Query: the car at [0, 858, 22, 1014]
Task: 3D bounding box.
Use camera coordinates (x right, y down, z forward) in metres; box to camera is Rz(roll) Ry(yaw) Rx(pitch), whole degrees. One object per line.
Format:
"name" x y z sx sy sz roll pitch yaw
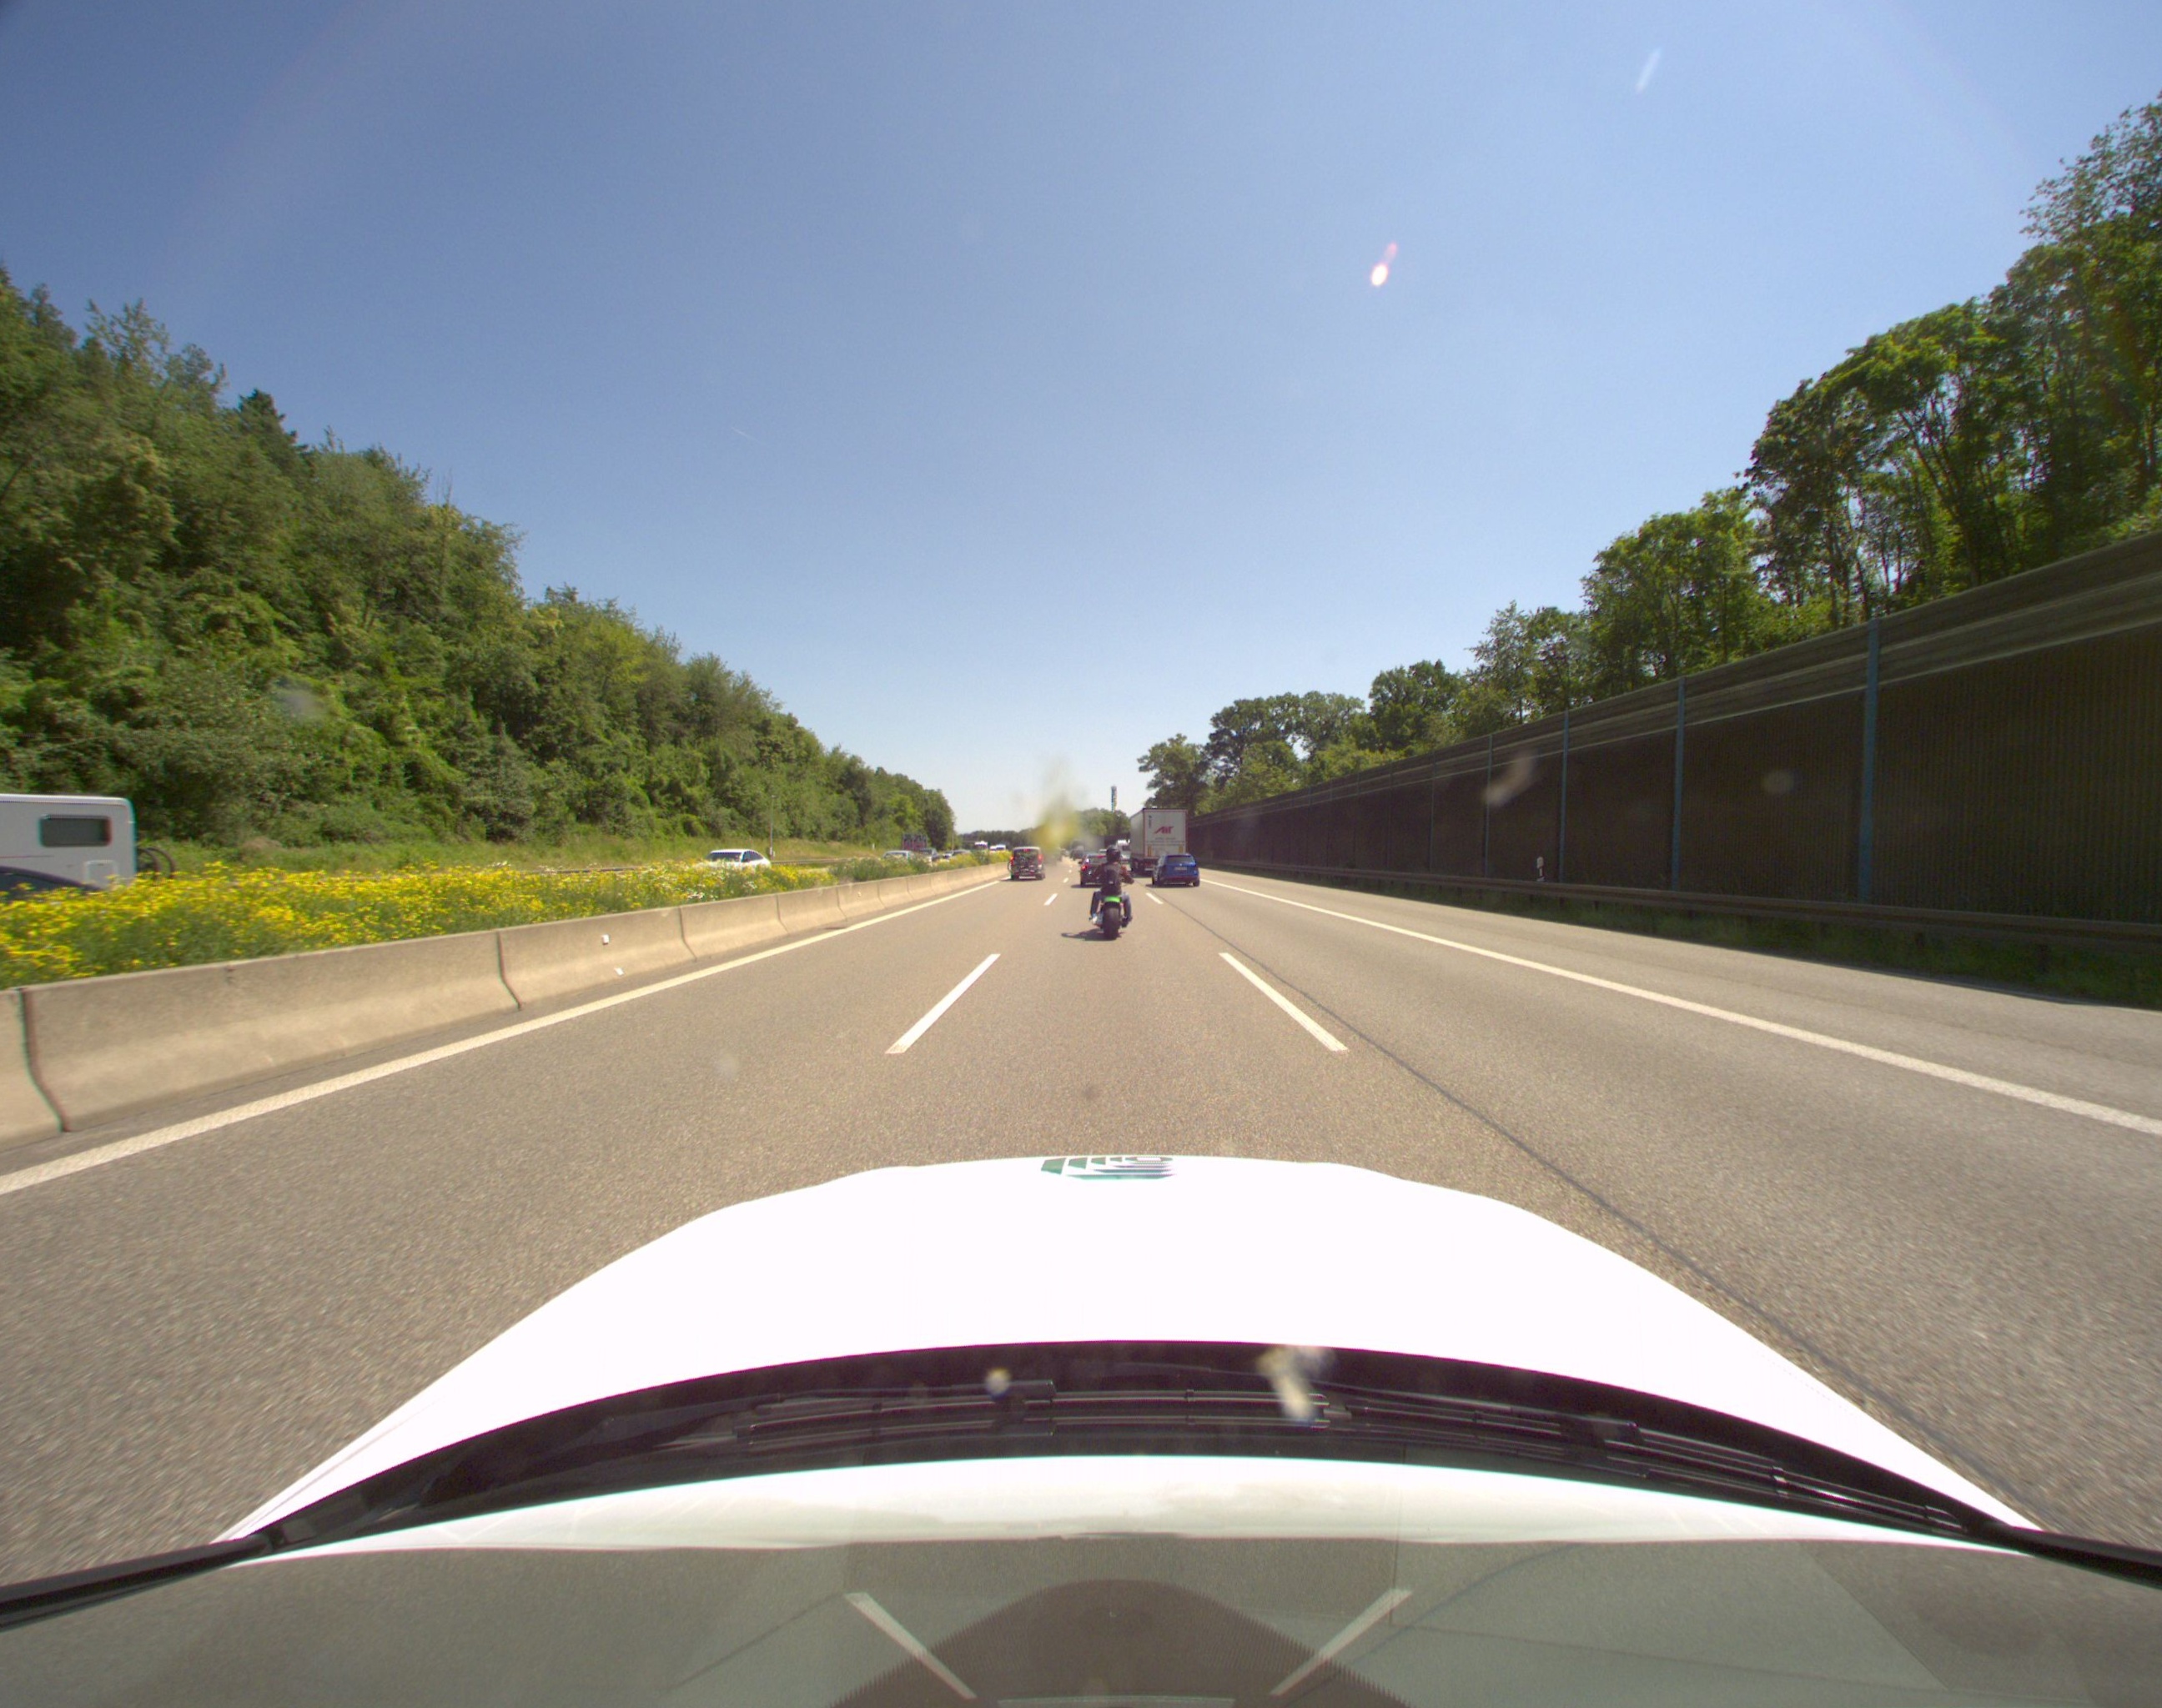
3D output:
"car" -11.274 0.798 5.994 1.801 1.486 3.859 -1 0 3

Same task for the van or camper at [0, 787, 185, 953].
"van or camper" -17.851 0.252 11.656 2.177 2.560 6.936 -1 -1 2

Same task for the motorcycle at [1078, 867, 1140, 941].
"motorcycle" 0.560 0.857 14.873 0.960 1.148 2.816 0 0 5

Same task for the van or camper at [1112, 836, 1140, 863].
"van or camper" 4.893 -0.400 89.464 2.676 2.813 6.803 -1 -1 1

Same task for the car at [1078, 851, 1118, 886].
"car" 0.745 0.649 36.797 1.657 1.453 3.869 -1 -1 0

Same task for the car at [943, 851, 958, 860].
"car" -22.453 0.282 139.969 1.988 1.432 4.190 -1 0 -1

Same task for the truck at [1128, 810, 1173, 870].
"truck" 5.081 -1.007 60.442 2.876 4.146 5.987 -1 0 1

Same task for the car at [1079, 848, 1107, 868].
"car" 0.897 0.329 61.274 1.987 1.430 3.846 -1 -1 0

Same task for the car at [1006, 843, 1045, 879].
"car" -3.046 0.402 45.452 1.893 1.873 4.411 -1 -1 0

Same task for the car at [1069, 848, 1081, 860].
"car" -1.101 0.010 144.074 1.907 2.014 3.686 -1 -1 -4

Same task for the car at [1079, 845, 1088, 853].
"car" 0.509 -1.272 198.923 2.102 1.876 3.997 -1 -1 -2

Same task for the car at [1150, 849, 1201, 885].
"car" 4.151 0.568 36.342 1.646 1.483 4.479 -1 -1 -1

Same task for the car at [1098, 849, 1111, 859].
"car" 3.757 0.049 132.895 1.987 1.574 3.999 -1 -1 0

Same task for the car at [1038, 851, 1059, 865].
"car" -3.359 0.411 85.523 1.987 1.387 3.999 -1 -1 0

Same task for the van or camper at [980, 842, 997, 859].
"van or camper" -19.459 -0.752 170.839 2.532 3.317 8.999 -1 -1 0

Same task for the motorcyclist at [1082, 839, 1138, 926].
"motorcyclist" 0.559 0.495 14.853 0.895 1.475 1.875 -1 -1 5

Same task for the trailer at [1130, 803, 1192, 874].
"trailer" 5.009 -0.921 53.585 2.875 4.038 13.797 -1 0 1

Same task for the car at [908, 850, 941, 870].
"car" -13.405 0.523 69.907 1.987 1.590 4.163 -1 -1 1

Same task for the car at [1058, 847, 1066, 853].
"car" -4.741 -0.934 198.998 1.826 1.496 3.743 -1 -1 0

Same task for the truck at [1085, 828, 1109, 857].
"truck" 2.833 -1.994 148.969 3.793 4.960 8.941 -1 -1 -3

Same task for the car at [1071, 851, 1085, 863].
"car" -0.475 0.448 117.013 1.988 1.640 3.998 -1 -1 -1

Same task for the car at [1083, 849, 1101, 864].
"car" 1.109 0.239 83.430 1.773 1.552 3.585 -1 0 1

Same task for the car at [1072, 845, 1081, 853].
"car" -1.200 -1.270 204.492 2.102 1.876 3.997 -1 -1 -2

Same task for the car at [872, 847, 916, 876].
"car" -9.973 0.398 43.658 1.472 1.442 3.564 -1 -1 1

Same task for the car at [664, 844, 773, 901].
"car" -14.040 0.696 31.847 1.985 2.014 4.571 -1 -1 3

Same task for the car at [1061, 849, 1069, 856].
"car" -3.341 -0.269 170.580 1.827 1.496 3.741 -1 -1 -1

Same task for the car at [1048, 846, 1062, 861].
"car" -3.526 -0.039 108.959 1.787 2.014 3.638 -1 -1 -2
